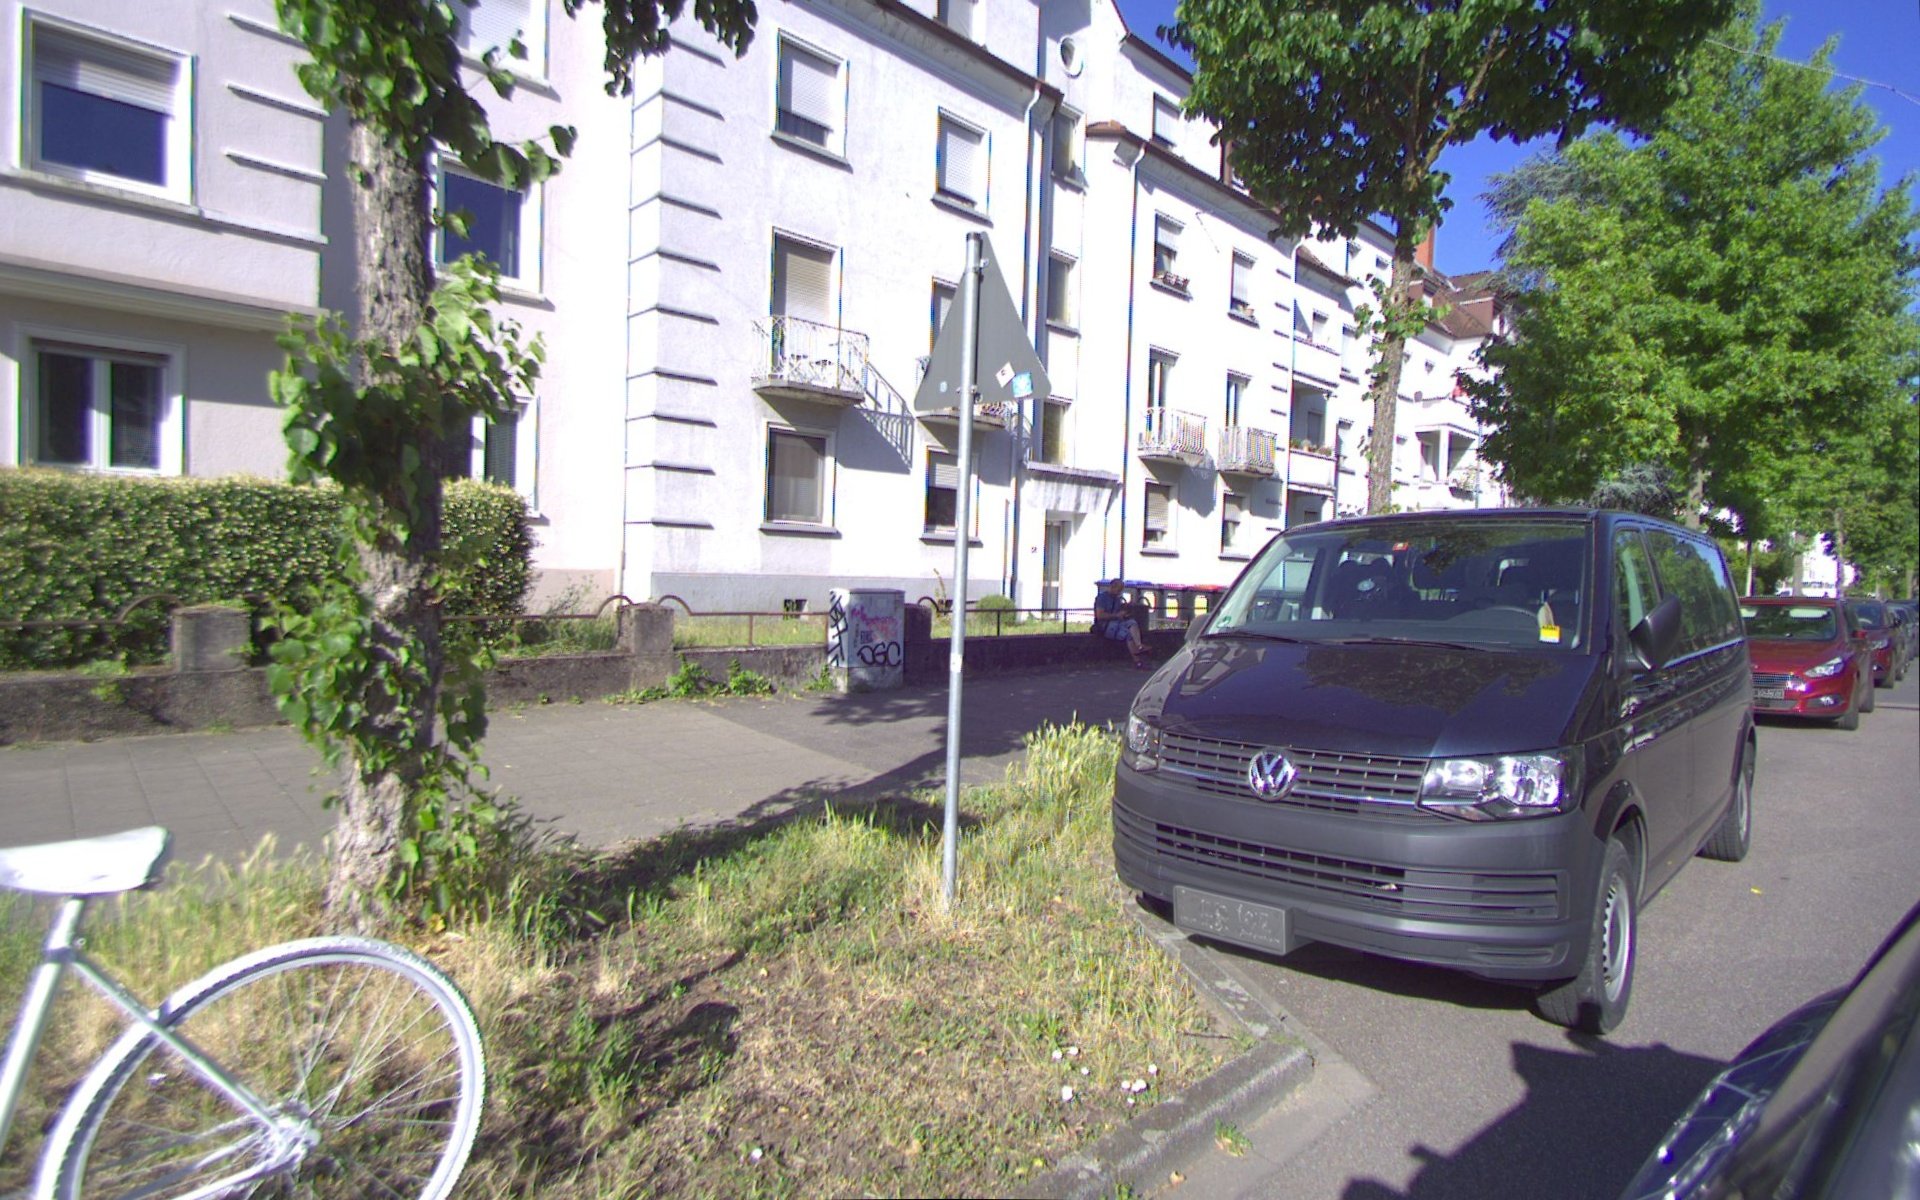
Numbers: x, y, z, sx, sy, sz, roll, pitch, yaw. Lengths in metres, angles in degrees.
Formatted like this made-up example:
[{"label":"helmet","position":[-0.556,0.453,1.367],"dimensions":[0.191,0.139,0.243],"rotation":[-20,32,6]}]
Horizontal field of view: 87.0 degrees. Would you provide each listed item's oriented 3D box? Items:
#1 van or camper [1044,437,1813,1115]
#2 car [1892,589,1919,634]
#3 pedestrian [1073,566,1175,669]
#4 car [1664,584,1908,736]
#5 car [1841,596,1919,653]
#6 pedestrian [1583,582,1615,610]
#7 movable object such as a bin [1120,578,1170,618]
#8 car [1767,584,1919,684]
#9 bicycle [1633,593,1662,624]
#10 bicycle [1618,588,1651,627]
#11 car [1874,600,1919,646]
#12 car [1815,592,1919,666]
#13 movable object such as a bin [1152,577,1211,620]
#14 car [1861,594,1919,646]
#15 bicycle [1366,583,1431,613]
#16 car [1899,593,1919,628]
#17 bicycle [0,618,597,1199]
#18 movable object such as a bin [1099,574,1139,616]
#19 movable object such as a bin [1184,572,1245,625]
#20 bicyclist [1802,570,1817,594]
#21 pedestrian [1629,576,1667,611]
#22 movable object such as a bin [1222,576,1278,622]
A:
[{"label":"van or camper","position":[2.929,0.444,5.394],"dimensions":[5.299,1.886,1.990],"rotation":[-1,1,-44]},{"label":"car","position":[37.995,0.428,39.895],"dimensions":[1.764,1.657,3.952],"rotation":[0,1,44]},{"label":"pedestrian","position":[2.185,0.208,13.508],"dimensions":[0.806,1.312,1.082],"rotation":[-1,1,-45]},{"label":"car","position":[11.239,0.632,13.630],"dimensions":[4.889,1.633,1.901],"rotation":[-1,2,-43]},{"label":"car","position":[25.650,0.626,27.891],"dimensions":[3.635,1.415,1.765],"rotation":[-1,1,-44]},{"label":"pedestrian","position":[26.695,-0.180,42.269],"dimensions":[1.032,1.157,0.706],"rotation":[1,1,41]},{"label":"movable object such as a bin","position":[3.984,-0.055,21.816],"dimensions":[0.729,0.832,0.777],"rotation":[-1,1,-39]},{"label":"car","position":[17.391,0.552,19.750],"dimensions":[4.518,1.586,1.933],"rotation":[-1,5,-44]},{"label":"bicycle","position":[24.030,0.292,35.340],"dimensions":[0.432,1.025,2.214],"rotation":[-5,-3,43]},{"label":"bicycle","position":[22.004,0.233,33.004],"dimensions":[0.489,1.212,2.140],"rotation":[0,1,45]},{"label":"car","position":[32.841,0.766,35.109],"dimensions":[1.605,1.441,3.952],"rotation":[0,1,44]},{"label":"car","position":[21.499,0.603,23.743],"dimensions":[4.417,1.424,1.713],"rotation":[-1,4,-44]},{"label":"movable object such as a bin","position":[4.660,-0.043,21.281],"dimensions":[0.992,0.873,0.777],"rotation":[-1,1,-39]},{"label":"car","position":[28.938,0.567,31.204],"dimensions":[1.605,1.482,3.811],"rotation":[0,1,44]},{"label":"bicycle","position":[15.490,-0.082,35.796],"dimensions":[0.549,0.929,2.035],"rotation":[-1,4,-39]},{"label":"car","position":[44.929,0.469,47.116],"dimensions":[1.764,1.514,3.872],"rotation":[0,1,44]},{"label":"bicycle","position":[-1.599,0.671,1.486],"dimensions":[0.528,1.208,2.000],"rotation":[2,2,42]},{"label":"movable object such as a bin","position":[3.541,-0.115,22.530],"dimensions":[0.585,0.933,0.672],"rotation":[-1,1,-39]},{"label":"movable object such as a bin","position":[5.190,-0.035,20.618],"dimensions":[0.992,1.039,0.777],"rotation":[-1,1,-39]},{"label":"bicyclist","position":[48.446,-1.019,57.733],"dimensions":[0.707,1.354,0.497],"rotation":[-1,4,-44]},{"label":"pedestrian","position":[28.150,-0.266,41.397],"dimensions":[1.020,1.395,0.714],"rotation":[2,2,11]},{"label":"movable object such as a bin","position":[5.709,-0.026,19.944],"dimensions":[0.752,0.873,0.777],"rotation":[-1,1,-39]}]
